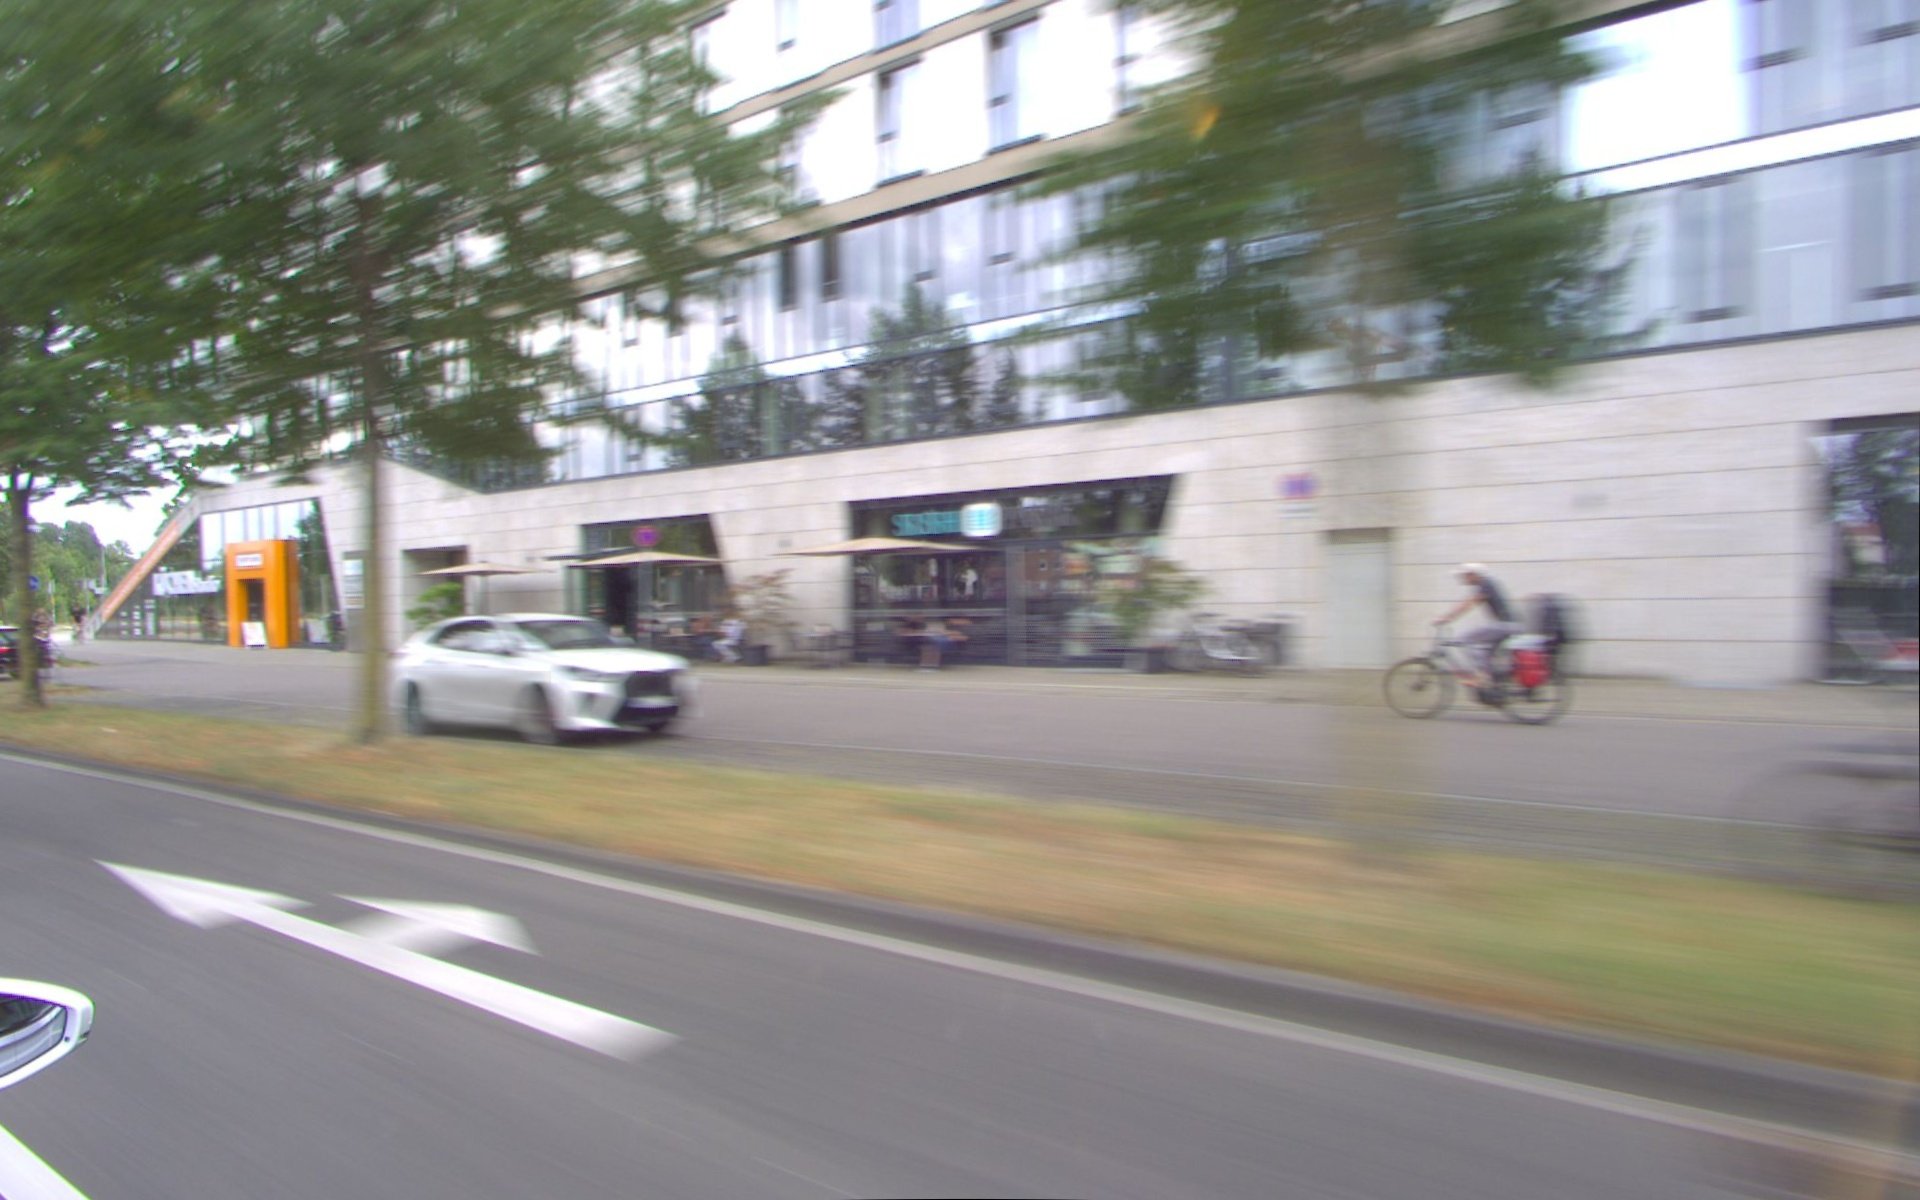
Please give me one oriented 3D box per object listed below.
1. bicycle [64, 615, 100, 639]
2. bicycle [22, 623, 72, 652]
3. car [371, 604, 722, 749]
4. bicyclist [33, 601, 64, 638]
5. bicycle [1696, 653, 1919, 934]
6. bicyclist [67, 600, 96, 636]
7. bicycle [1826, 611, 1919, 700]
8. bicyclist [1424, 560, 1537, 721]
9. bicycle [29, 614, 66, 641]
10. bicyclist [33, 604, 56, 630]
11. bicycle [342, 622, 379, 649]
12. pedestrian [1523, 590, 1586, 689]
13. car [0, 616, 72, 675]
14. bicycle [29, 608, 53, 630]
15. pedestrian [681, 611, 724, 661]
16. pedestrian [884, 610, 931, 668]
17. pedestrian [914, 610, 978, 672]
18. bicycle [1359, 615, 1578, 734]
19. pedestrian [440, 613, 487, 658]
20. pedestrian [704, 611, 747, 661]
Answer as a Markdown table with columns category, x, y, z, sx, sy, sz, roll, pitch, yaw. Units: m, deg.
| category | x | y | z | sx | sy | sz | roll | pitch | yaw |
| --- | --- | --- | --- | --- | --- | --- | --- | --- | --- |
| bicycle | -39.005 | 1.183 | 44.472 | 1.979 | 1.056 | 0.672 | -1 | 1 | 33 |
| bicycle | -31.670 | 1.284 | 34.727 | 2.075 | 0.968 | 0.629 | -1 | 1 | 28 |
| car | -5.417 | 0.858 | 12.973 | 4.527 | 1.573 | 1.934 | 0 | 0 | 32 |
| bicyclist | -39.317 | 0.837 | 43.199 | 0.975 | 1.603 | 0.723 | 0 | 1 | 32 |
| bicycle | 4.501 | 0.807 | 4.200 | 2.167 | 1.129 | 0.710 | 0 | -2 | 25 |
| bicyclist | -39.063 | 0.789 | 44.517 | 0.976 | 1.603 | 0.723 | 0 | 1 | 32 |
| bicycle | 12.217 | 0.694 | 13.038 | 0.599 | 1.040 | 1.602 | -1 | 1 | 5 |
| bicyclist | 6.103 | 0.439 | 11.726 | 1.113 | 1.761 | 0.994 | 0 | 4 | 31 |
| bicycle | -39.446 | 1.179 | 43.264 | 1.979 | 1.158 | 0.672 | -1 | 1 | 33 |
| bicyclist | -65.022 | 1.193 | 71.109 | 1.157 | 1.813 | 0.865 | 0 | 1 | 31 |
| bicycle | -21.097 | 1.232 | 35.221 | 1.472 | 0.922 | 0.517 | -1 | 1 | 33 |
| pedestrian | 8.921 | 0.575 | 15.029 | 0.712 | 1.425 | 0.753 | 0 | 1 | 40 |
| car | -27.007 | 1.233 | 26.703 | 4.776 | 1.495 | 1.947 | -1 | 0 | -3 |
| bicycle | -65.377 | 1.341 | 71.258 | 1.978 | 1.526 | 0.704 | -1 | 1 | 31 |
| pedestrian | -6.493 | 0.895 | 25.238 | 0.748 | 1.208 | 0.717 | 0 | 1 | 32 |
| pedestrian | -1.136 | 0.826 | 21.602 | 0.712 | 1.208 | 0.753 | -1 | 1 | -36 |
| pedestrian | -0.287 | 0.816 | 20.309 | 0.767 | 1.208 | 1.095 | -1 | 1 | -42 |
| bicycle | 5.983 | 0.830 | 11.830 | 2.235 | 1.252 | 0.900 | -1 | 2 | 32 |
| pedestrian | -14.380 | 1.007 | 28.996 | 0.938 | 1.245 | 0.894 | 0 | 1 | 37 |
| pedestrian | -5.793 | 0.873 | 24.775 | 0.748 | 1.208 | 0.717 | 0 | 1 | 34 |
